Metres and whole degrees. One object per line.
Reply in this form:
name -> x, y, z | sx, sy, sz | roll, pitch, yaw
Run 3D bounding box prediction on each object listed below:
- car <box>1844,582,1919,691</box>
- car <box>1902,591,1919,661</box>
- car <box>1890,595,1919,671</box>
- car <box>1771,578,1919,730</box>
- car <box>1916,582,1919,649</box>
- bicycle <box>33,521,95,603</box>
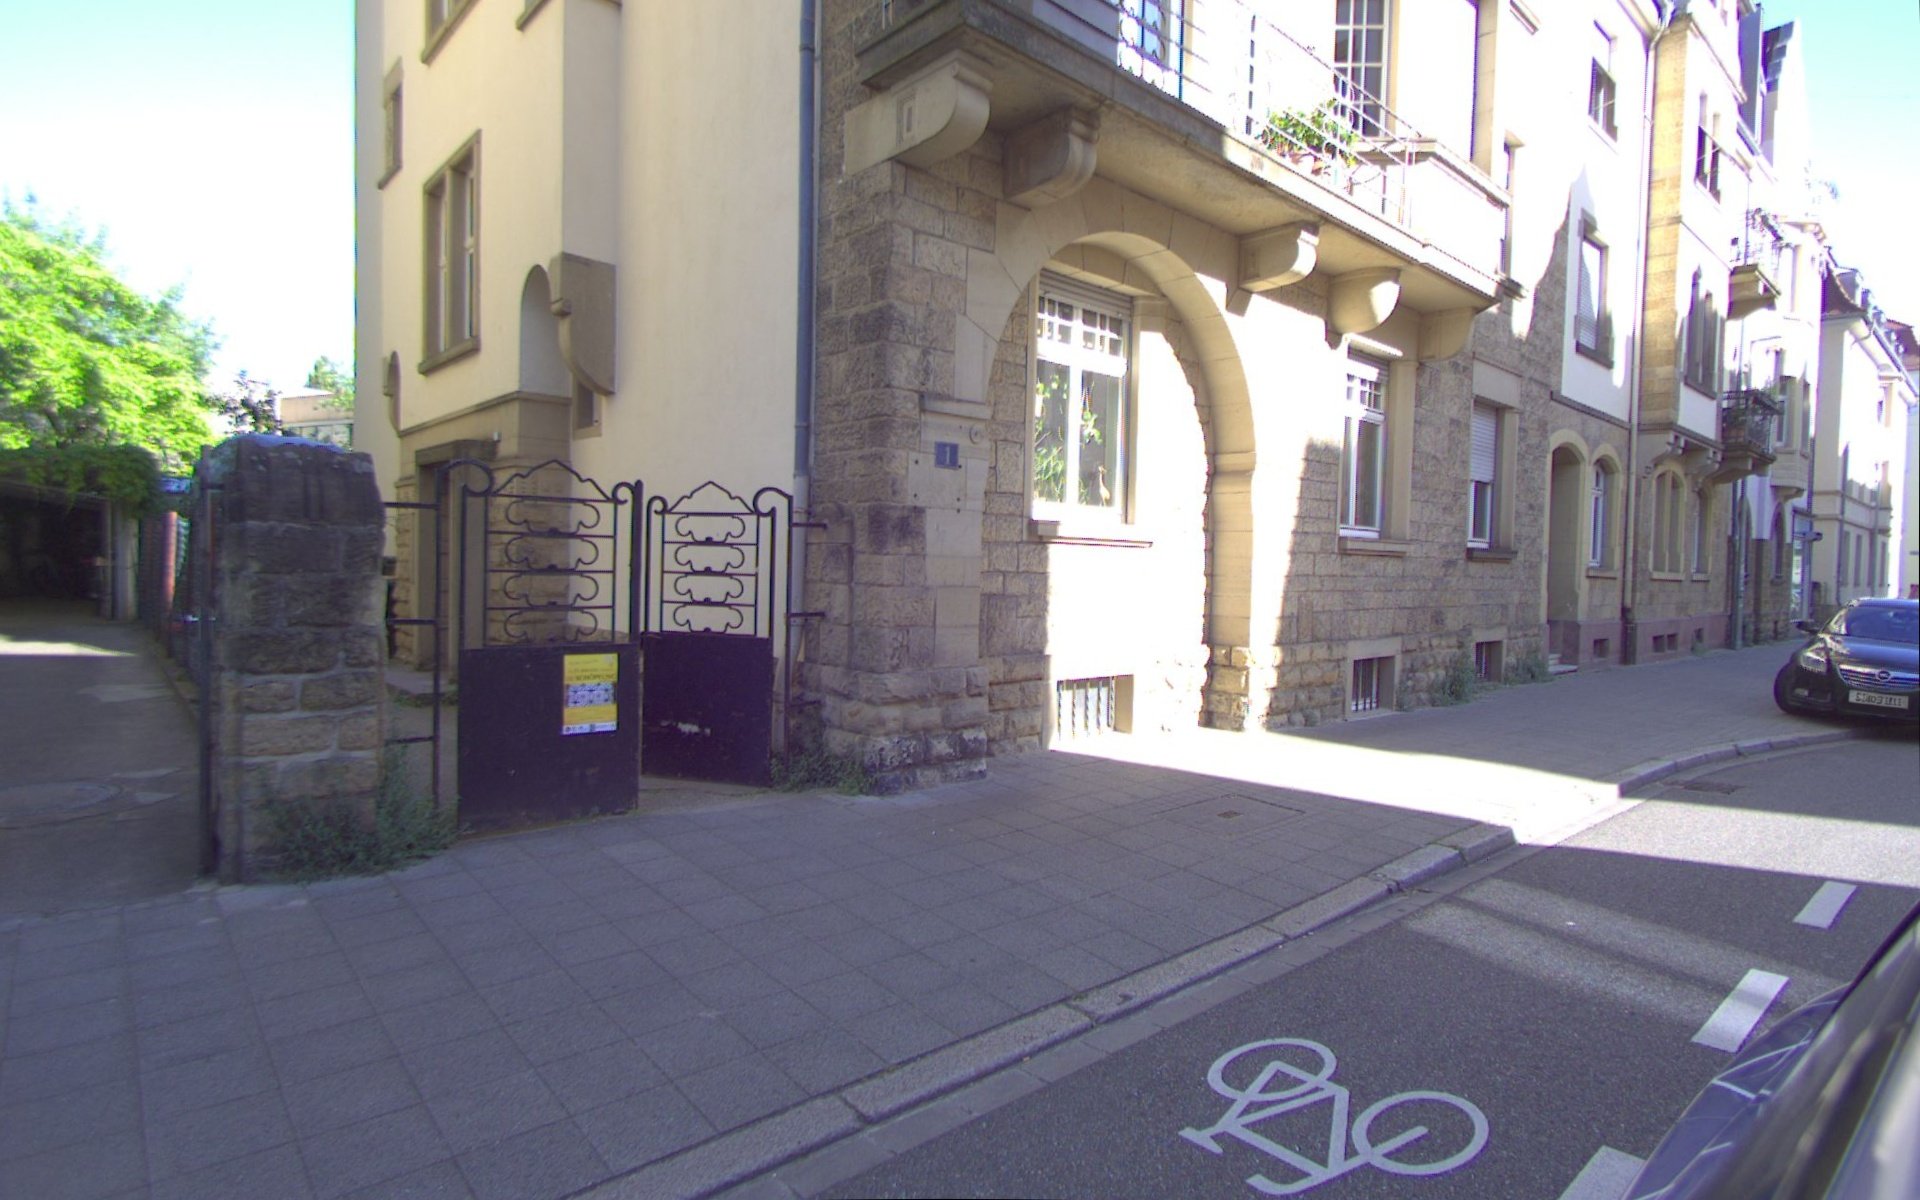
car -> 15.531, 0.562, 15.859 | 4.247, 1.527, 2.004 | 0, 3, -42
car -> 22.171, 0.578, 22.184 | 4.247, 1.440, 1.823 | -1, 4, -42
car -> 18.794, 0.615, 18.963 | 3.667, 1.295, 1.659 | -1, 4, -42
car -> 11.496, 0.567, 12.170 | 4.043, 1.526, 2.023 | -1, 5, -42
car -> 26.234, 0.331, 26.041 | 4.247, 1.860, 2.004 | -1, 4, -42
bicycle -> -18.302, -0.813, 20.720 | 0.903, 1.530, 2.672 | 0, 4, -41
